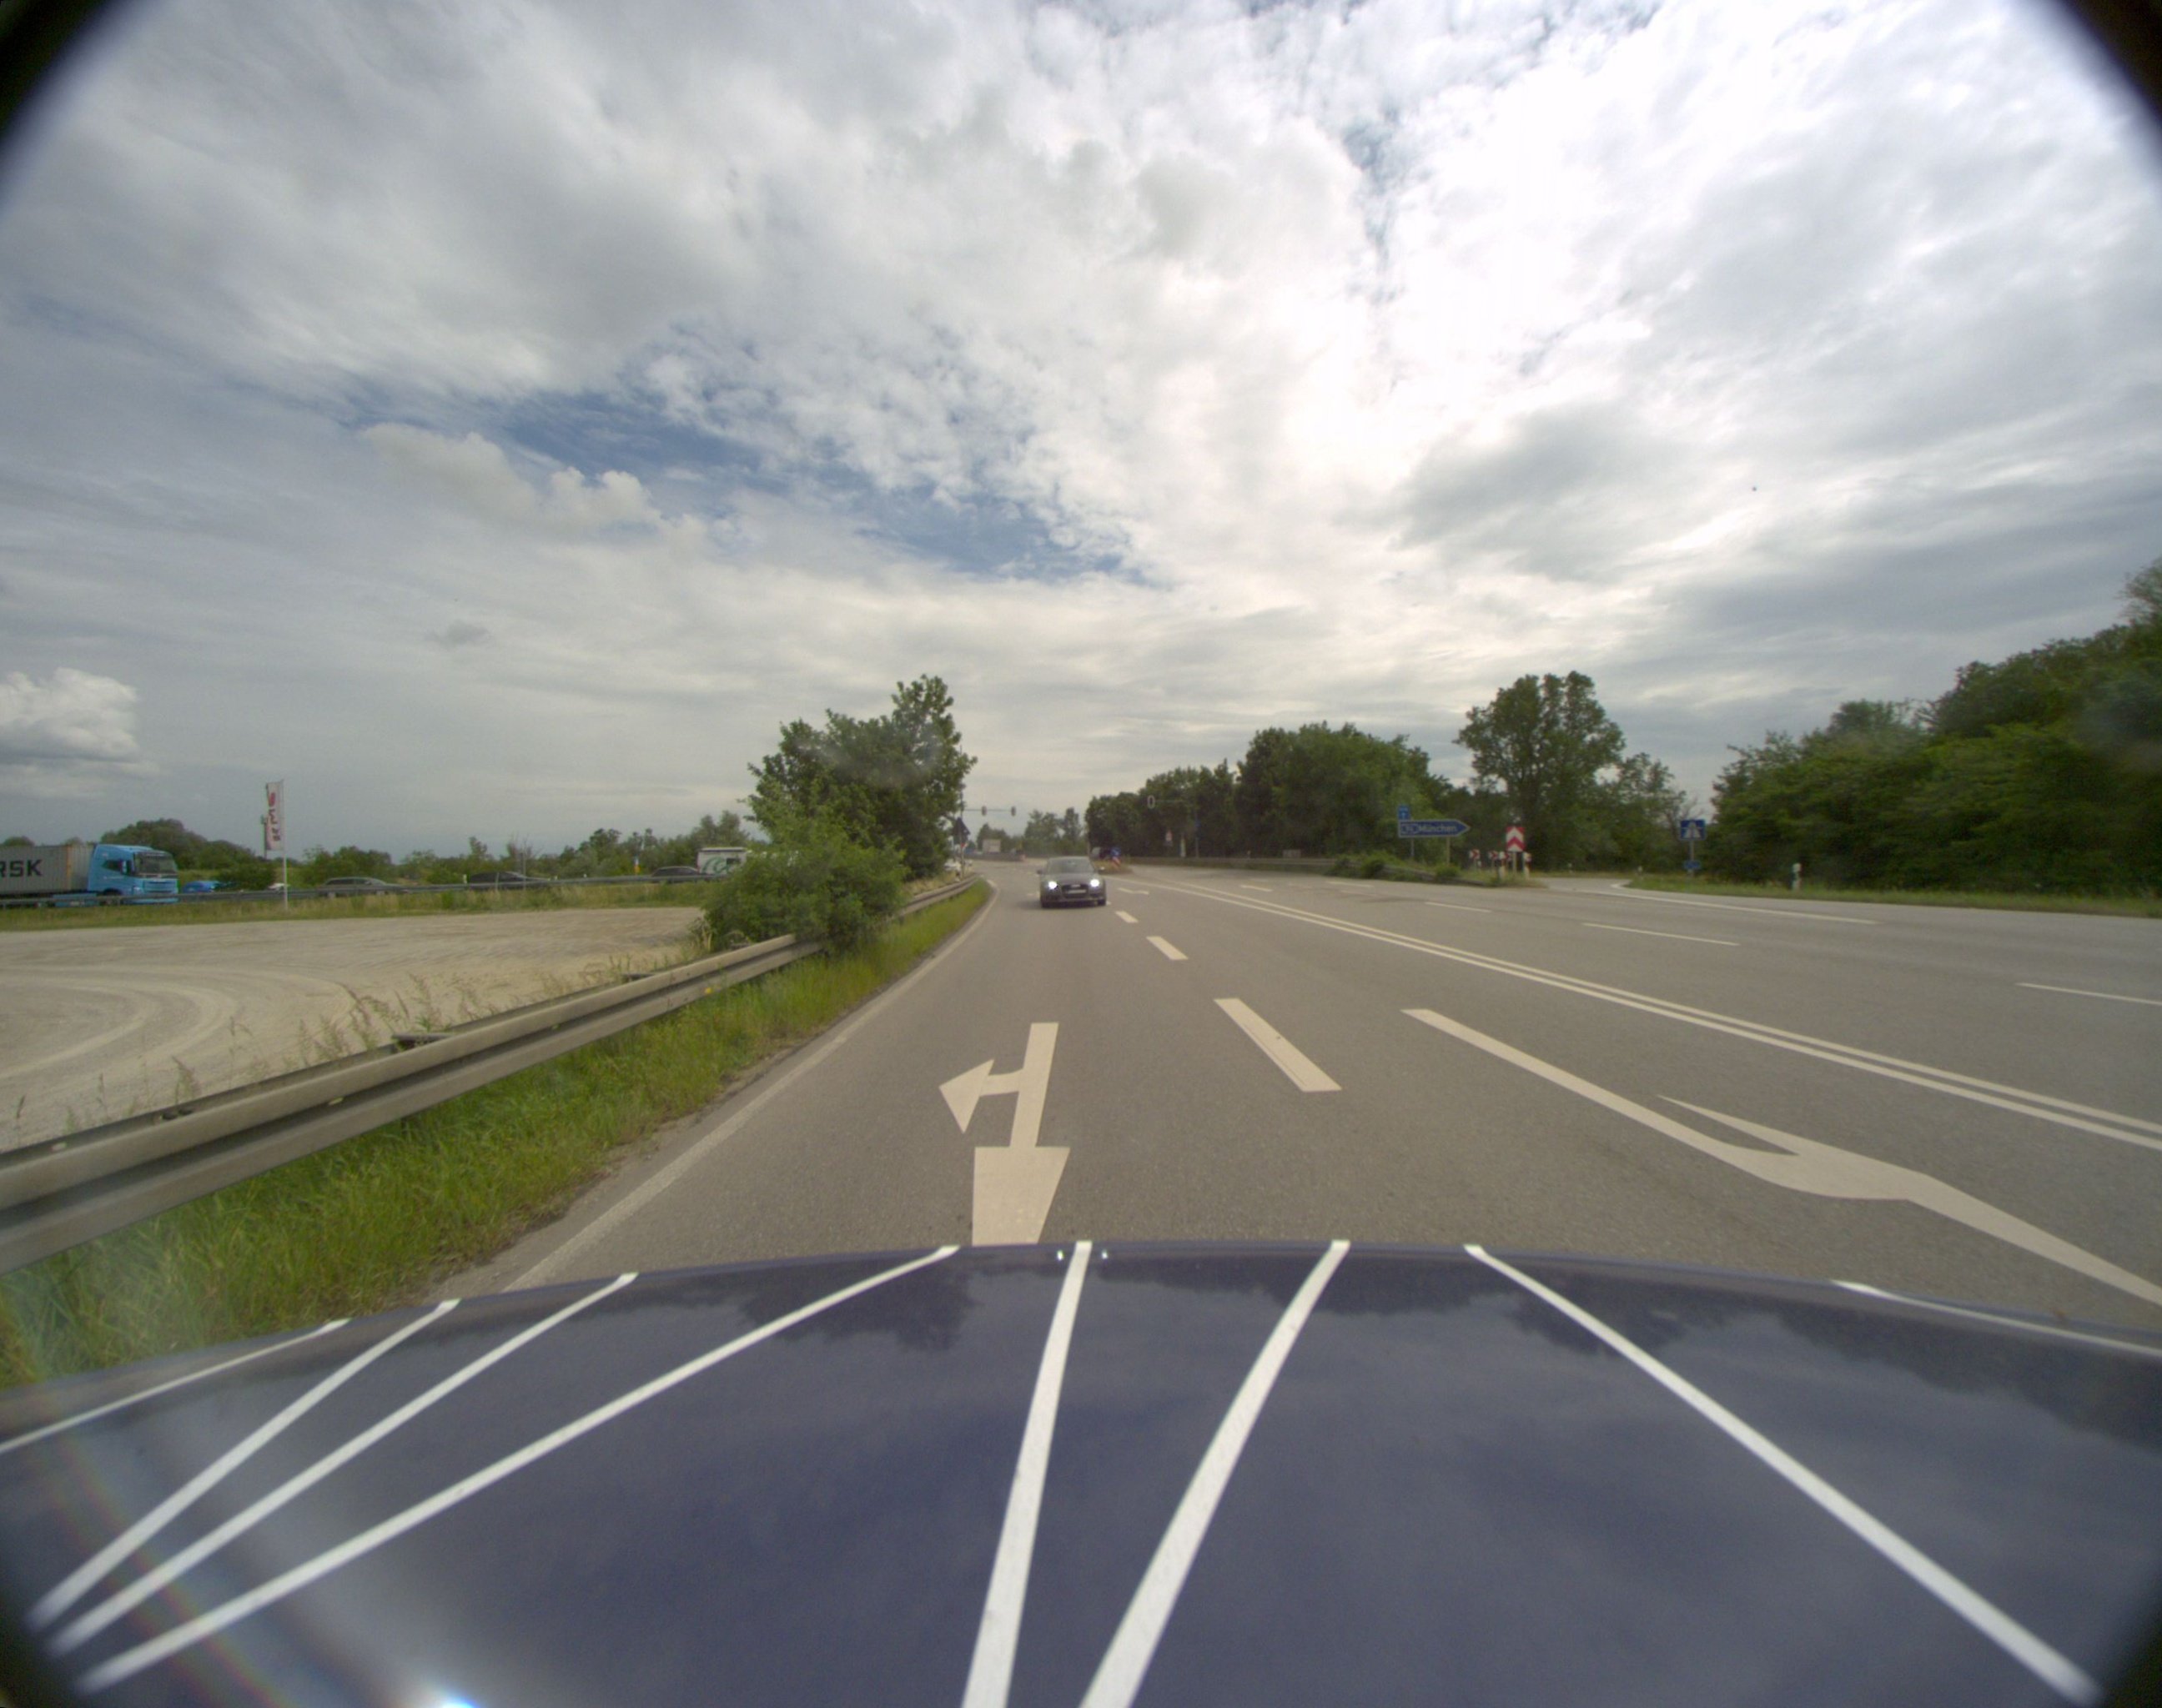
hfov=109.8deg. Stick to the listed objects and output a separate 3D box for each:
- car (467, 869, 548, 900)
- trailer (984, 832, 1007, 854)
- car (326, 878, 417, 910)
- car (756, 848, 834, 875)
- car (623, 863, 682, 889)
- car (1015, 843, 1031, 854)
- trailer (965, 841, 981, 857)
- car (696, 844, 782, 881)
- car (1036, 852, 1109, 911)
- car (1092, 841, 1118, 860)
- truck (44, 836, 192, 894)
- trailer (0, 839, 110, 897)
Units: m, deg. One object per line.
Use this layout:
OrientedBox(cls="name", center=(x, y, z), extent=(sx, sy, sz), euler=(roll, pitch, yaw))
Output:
OrientedBox(cls="car", center=(-39.629, 2.061, 52.615), extent=(4.001, 2.002, 1.929), euler=(-1, 0, -13))
OrientedBox(cls="trailer", center=(-18.682, -2.302, 165.465), extent=(3.498, 4.488, 10.932), euler=(-3, 1, -13))
OrientedBox(cls="car", center=(-47.512, 2.653, 50.984), extent=(4.001, 2.002, 1.929), euler=(-1, 0, -13))
OrientedBox(cls="car", center=(-24.270, 0.609, 64.644), extent=(5.899, 2.002, 2.059), euler=(-2, 0, -13))
OrientedBox(cls="car", center=(-37.338, 1.917, 66.357), extent=(4.001, 2.002, 1.929), euler=(-2, 0, -13))
OrientedBox(cls="car", center=(-10.468, -0.980, 137.698), extent=(2.001, 2.002, 3.994), euler=(-3, 1, -17))
OrientedBox(cls="trailer", center=(-33.528, -1.439, 235.649), extent=(3.142, 4.605, 8.814), euler=(-4, 1, -16))
OrientedBox(cls="car", center=(-25.422, 0.603, 56.672), extent=(5.421, 2.552, 2.457), euler=(-1, 0, -13))
OrientedBox(cls="car", center=(-0.292, 0.752, 22.995), extent=(1.958, 1.527, 3.999), euler=(-3, 1, -2))
OrientedBox(cls="car", center=(2.780, -0.388, 88.280), extent=(2.000, 2.002, 3.995), euler=(-3, 1, -13))
OrientedBox(cls="truck", center=(-60.270, 0.661, 47.664), extent=(5.595, 3.286, 2.391), euler=(-3, 0, -6))
OrientedBox(cls="trailer", center=(-67.830, 1.039, 47.423), extent=(11.224, 3.290, 2.392), euler=(-3, 0, 0))
